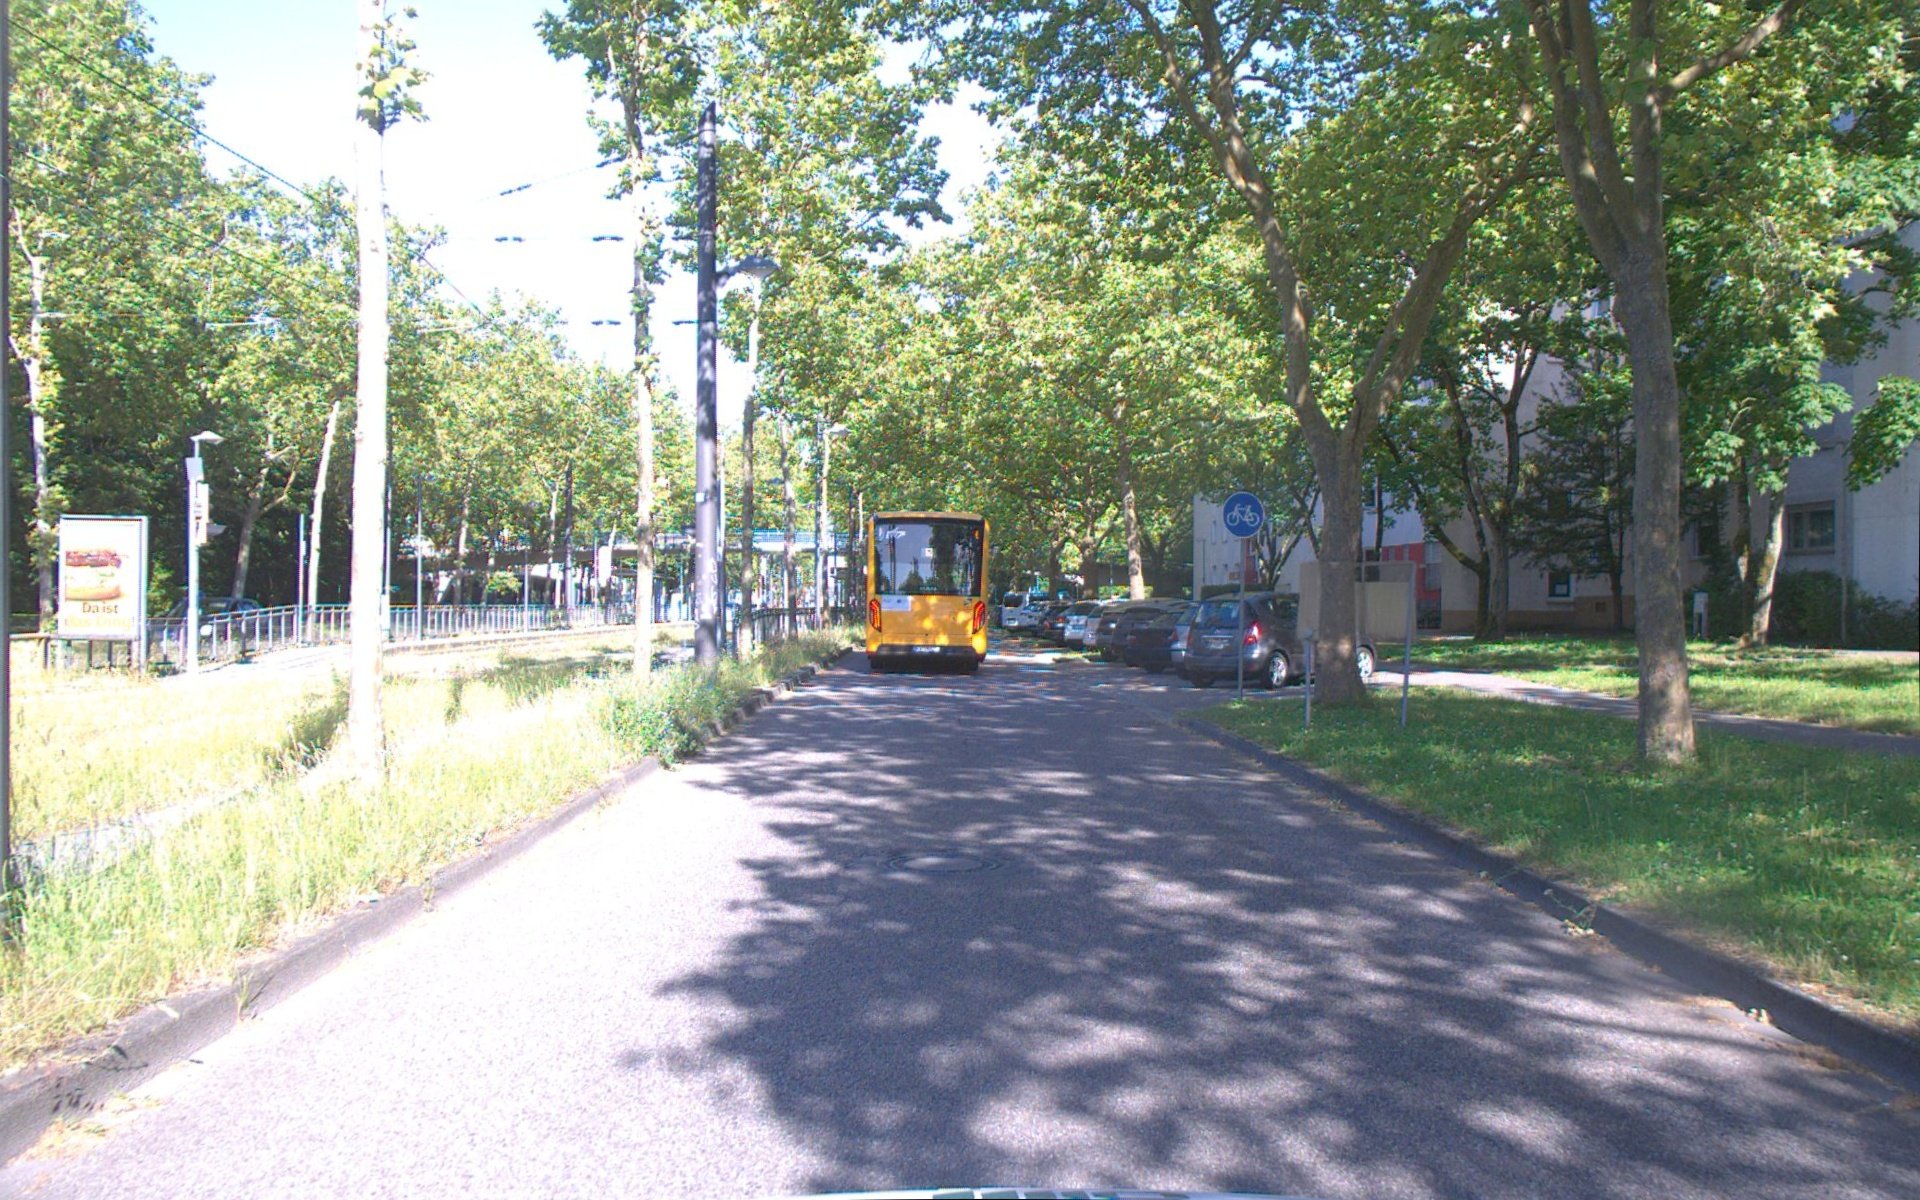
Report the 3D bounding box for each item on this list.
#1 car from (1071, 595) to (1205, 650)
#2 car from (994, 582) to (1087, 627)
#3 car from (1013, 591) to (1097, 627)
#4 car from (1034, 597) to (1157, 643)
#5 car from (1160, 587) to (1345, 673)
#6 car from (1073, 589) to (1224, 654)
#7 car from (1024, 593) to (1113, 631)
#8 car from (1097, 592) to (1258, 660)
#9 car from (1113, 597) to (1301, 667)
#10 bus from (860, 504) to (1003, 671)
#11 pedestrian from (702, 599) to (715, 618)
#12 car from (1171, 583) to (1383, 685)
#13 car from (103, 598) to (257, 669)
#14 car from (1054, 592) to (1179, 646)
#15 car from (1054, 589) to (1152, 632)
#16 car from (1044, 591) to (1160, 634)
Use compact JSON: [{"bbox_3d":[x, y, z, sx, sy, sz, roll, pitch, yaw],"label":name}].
[{"bbox_3d":[5.250,0.642,48.580,3.967,1.469,1.772,-1,0,-43],"label":"car"},{"bbox_3d":[4.049,0.206,82.894,4.551,2.088,1.987,-2,0,-42],"label":"car"},{"bbox_3d":[4.595,0.412,79.733,4.028,1.608,1.803,-2,0,-45],"label":"car"},{"bbox_3d":[4.685,0.660,56.824,1.769,1.447,4.560,-1,0,43],"label":"car"},{"bbox_3d":[5.712,0.549,32.075,3.556,1.518,1.771,-1,0,-43],"label":"car"},{"bbox_3d":[4.841,0.527,42.032,1.768,1.537,4.153,-1,0,41],"label":"car"},{"bbox_3d":[4.853,0.526,73.468,1.767,1.537,4.189,-2,0,41],"label":"car"},{"bbox_3d":[5.132,0.576,38.762,1.770,1.471,3.860,-1,0,45],"label":"car"},{"bbox_3d":[5.299,0.646,35.186,4.112,1.341,1.772,-1,0,-42],"label":"car"},{"bbox_3d":[-0.794,-0.213,39.311,2.841,3.324,12.212,0,0,-2],"label":"bus"},{"bbox_3d":[-16.475,0.570,108.191,0.762,1.259,0.721,1,0,-3],"label":"pedestrian"},{"bbox_3d":[5.550,0.543,28.778,3.696,1.620,1.772,-1,0,-43],"label":"car"},{"bbox_3d":[-18.874,0.775,40.233,1.758,1.636,4.266,0,0,-1],"label":"car"},{"bbox_3d":[4.991,0.573,52.469,3.966,1.603,1.772,-1,0,-42],"label":"car"},{"bbox_3d":[5.832,0.415,67.134,3.970,1.617,1.771,-2,0,-44],"label":"car"},{"bbox_3d":[5.457,0.470,63.338,4.370,1.453,1.923,-2,0,-41],"label":"car"}]
